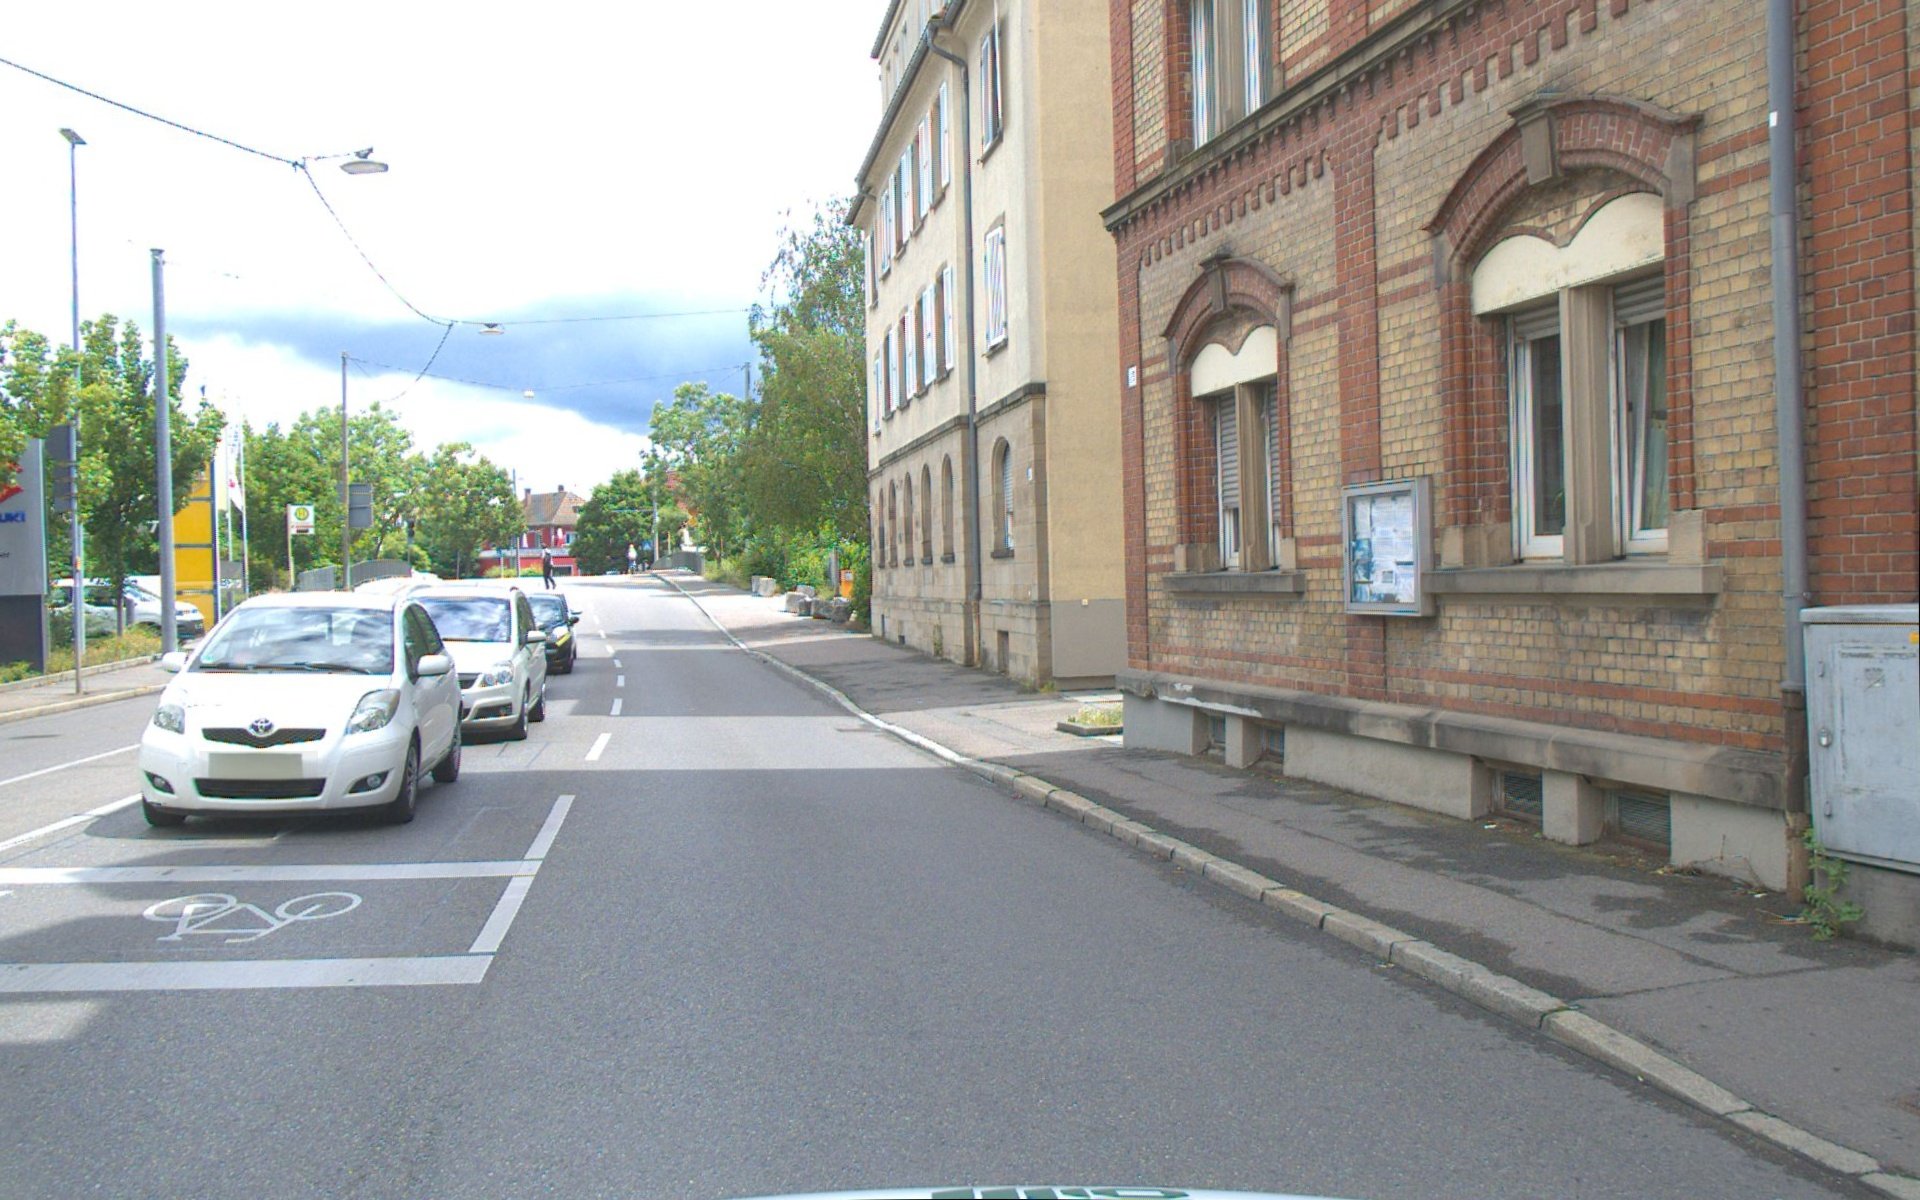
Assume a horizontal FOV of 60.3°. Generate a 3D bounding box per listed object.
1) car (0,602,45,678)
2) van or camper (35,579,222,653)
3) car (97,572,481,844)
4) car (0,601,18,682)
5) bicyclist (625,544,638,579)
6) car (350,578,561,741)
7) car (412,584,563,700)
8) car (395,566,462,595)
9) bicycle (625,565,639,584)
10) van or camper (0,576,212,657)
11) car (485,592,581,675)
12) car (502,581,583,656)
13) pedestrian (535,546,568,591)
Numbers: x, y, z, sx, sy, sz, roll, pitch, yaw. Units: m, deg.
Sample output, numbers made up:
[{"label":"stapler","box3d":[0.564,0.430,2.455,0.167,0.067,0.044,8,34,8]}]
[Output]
[{"label":"car","box3d":[-20.430,0.849,32.808,3.641,1.433,1.786,-2,2,-19]},{"label":"van or camper","box3d":[-24.426,0.421,48.804,1.942,1.997,4.961,0,1,19]},{"label":"car","box3d":[-4.580,0.658,11.894,1.687,1.609,3.991,1,-1,-9]},{"label":"car","box3d":[-19.848,0.850,30.628,3.770,1.486,1.766,-2,1,-15]},{"label":"bicyclist","box3d":[-18.691,-2.189,94.173,0.672,1.858,1.078,-1,-4,-9]},{"label":"car","box3d":[-5.535,0.612,18.621,1.687,1.609,4.309,1,-1,-9]},{"label":"car","box3d":[-7.055,0.602,25.048,1.687,1.609,4.241,1,-1,-9]},{"label":"car","box3d":[-36.991,-1.343,115.059,4.352,1.863,1.988,2,-1,-20]},{"label":"bicycle","box3d":[-18.685,-1.435,94.129,0.675,0.894,2.097,-1,-4,-9]},{"label":"van or camper","box3d":[-20.799,0.371,39.907,4.582,1.780,1.996,-2,1,-9]},{"label":"car","box3d":[-8.222,0.623,31.967,1.690,1.510,3.311,1,-1,-14]},{"label":"car","box3d":[-9.532,0.423,37.904,1.690,1.609,3.985,1,-1,-14]},{"label":"pedestrian","box3d":[-17.072,-1.307,69.202,1.011,1.869,1.000,0,2,9]}]
